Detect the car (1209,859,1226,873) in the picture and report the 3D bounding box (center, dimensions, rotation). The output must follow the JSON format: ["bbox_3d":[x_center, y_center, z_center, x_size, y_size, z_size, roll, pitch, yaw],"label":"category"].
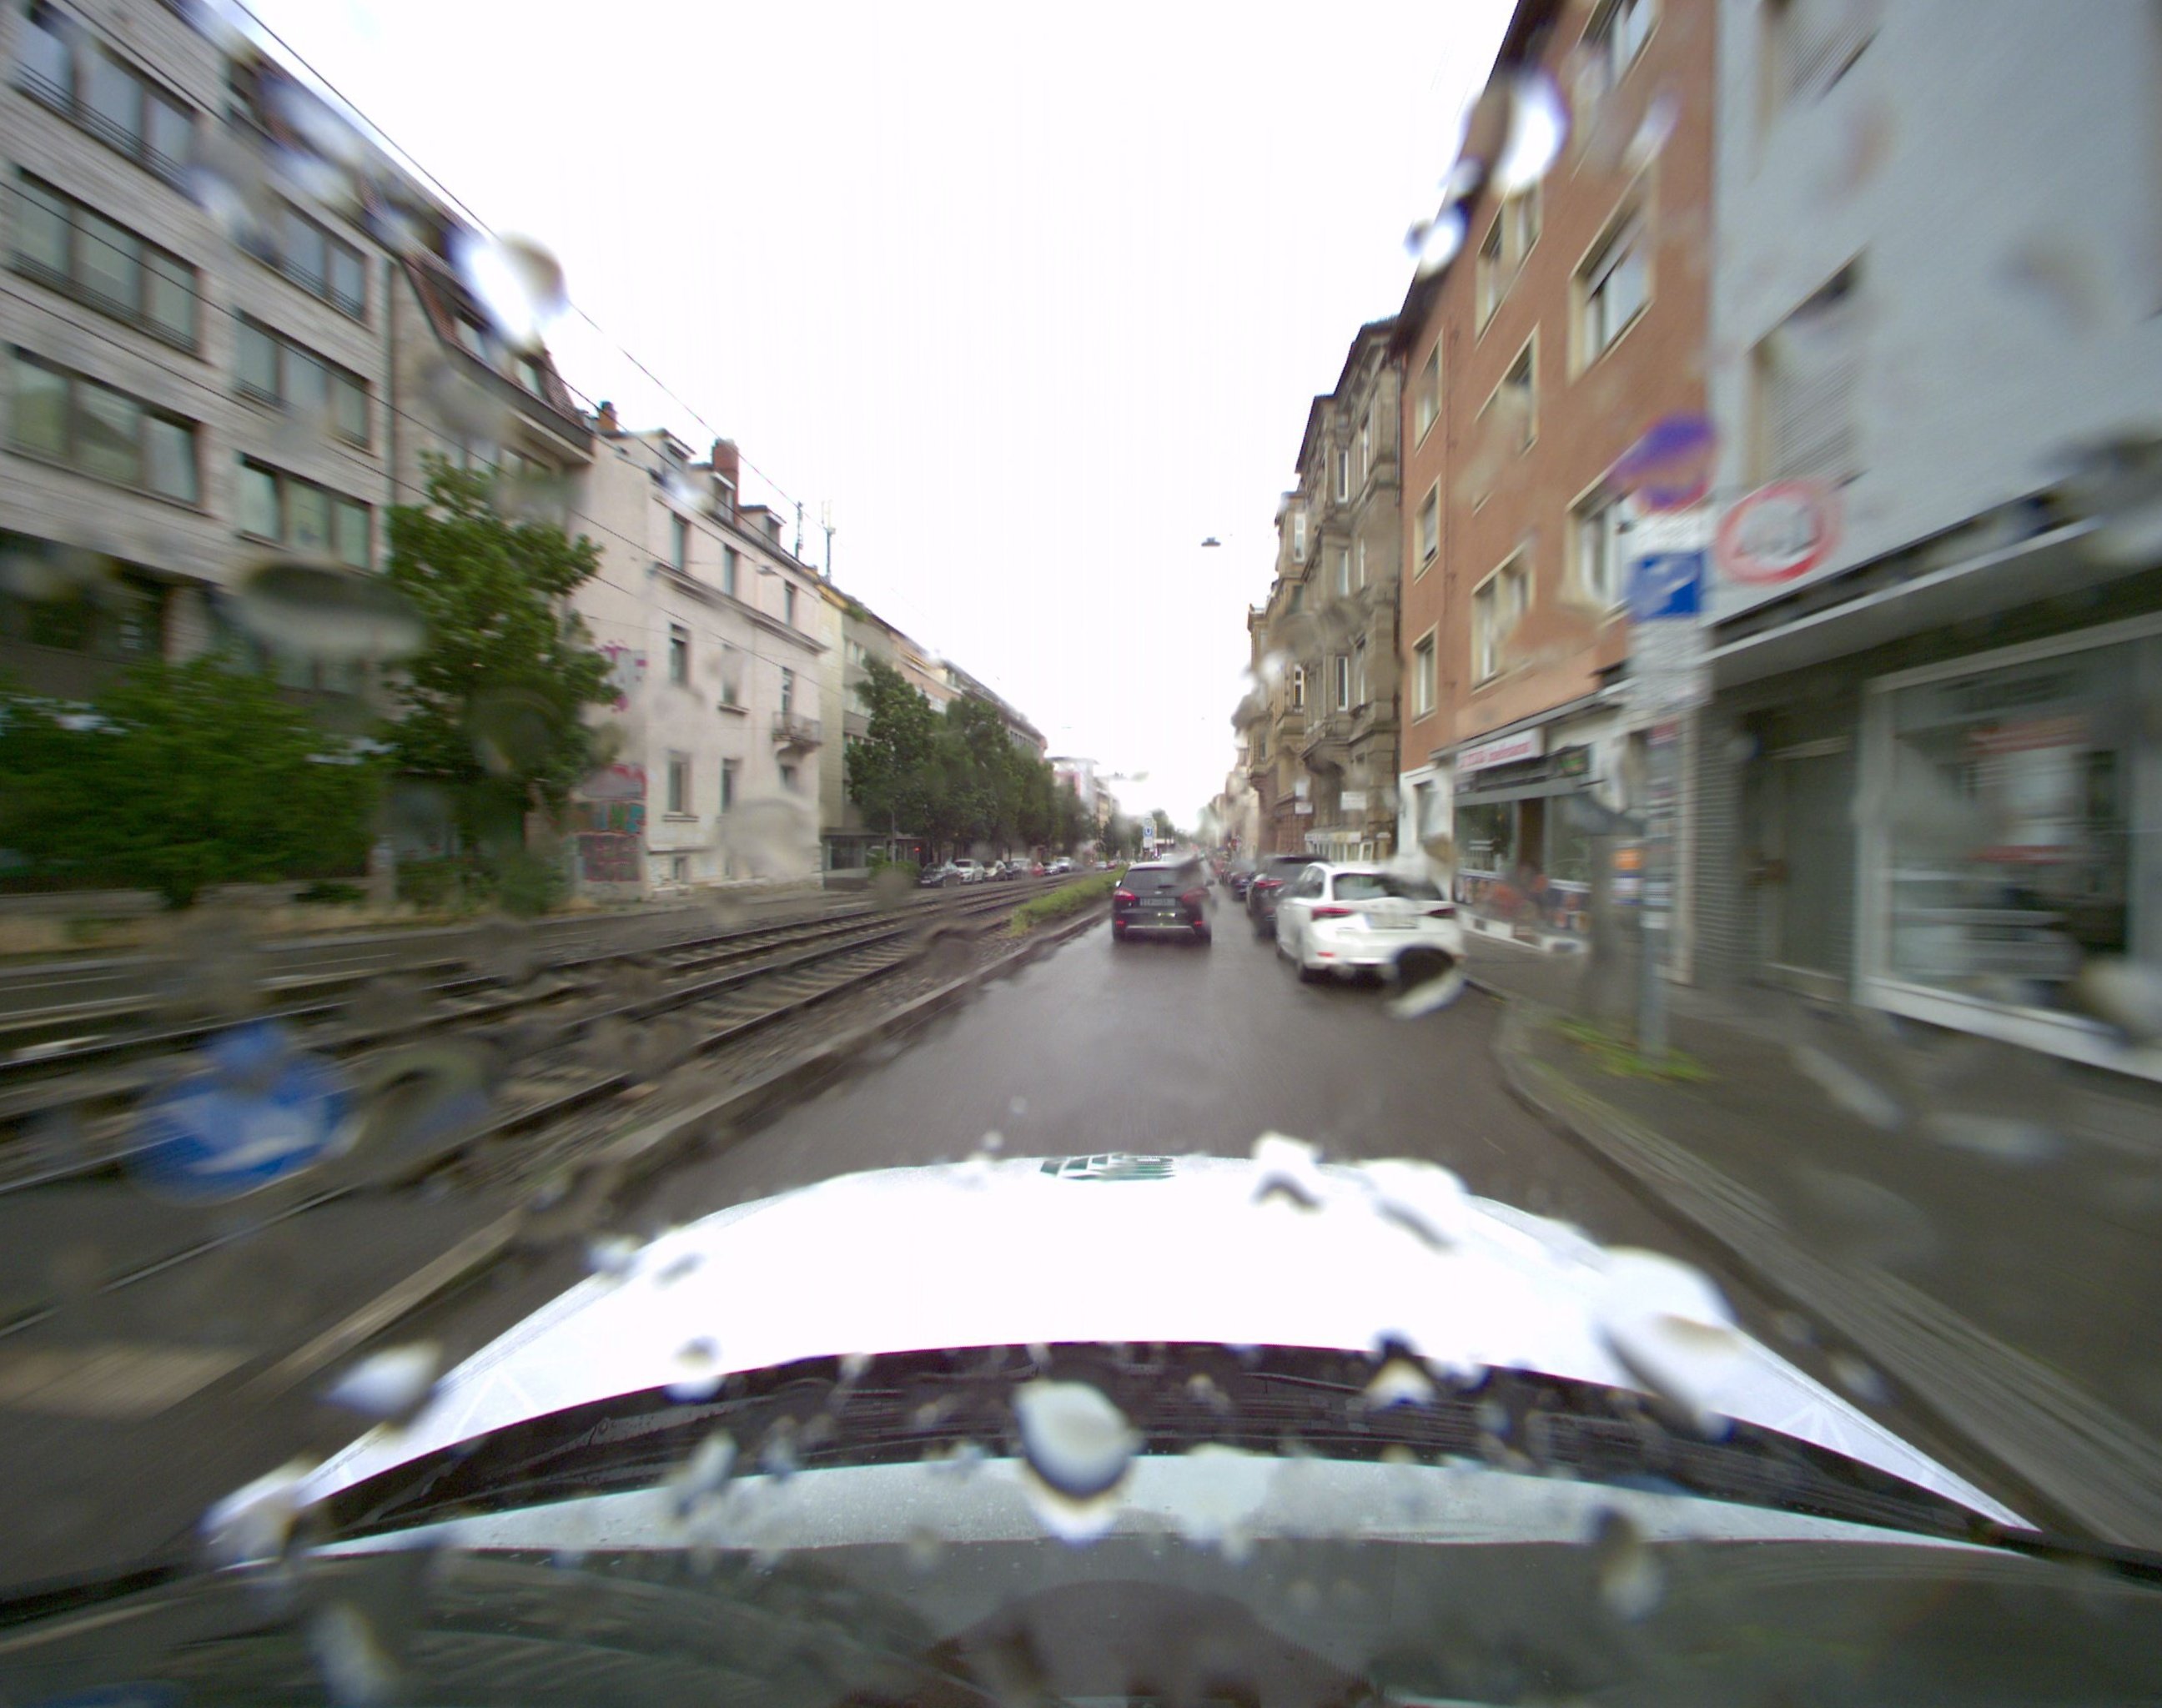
[{"bbox_3d":[13.917,1.220,83.035,1.661,1.421,3.483,0,-1,8],"label":"car"}]

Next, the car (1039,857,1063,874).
[{"bbox_3d":[-3.063,1.197,83.863,1.658,1.558,4.055,1,-2,8],"label":"car"}]

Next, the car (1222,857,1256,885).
[{"bbox_3d":[8.417,0.919,43.641,1.640,1.460,3.484,0,-1,8],"label":"car"}]

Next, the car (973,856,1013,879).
[{"bbox_3d":[-6.472,1.007,60.377,1.845,1.549,4.441,1,-2,8],"label":"car"}]

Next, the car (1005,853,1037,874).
[{"bbox_3d":[-5.207,0.855,71.282,1.845,1.701,4.441,1,-2,8],"label":"car"}]

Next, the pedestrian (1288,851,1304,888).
[{"bbox_3d":[9.406,0.688,35.683,0.516,1.579,0.679,-2,-3,8],"label":"pedestrian"}]

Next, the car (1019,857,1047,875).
[{"bbox_3d":[-4.528,1.167,77.340,1.845,1.527,4.055,1,-2,8],"label":"car"}]

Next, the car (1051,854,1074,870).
[{"bbox_3d":[-2.065,0.956,93.626,1.845,1.637,4.946,1,-2,8],"label":"car"}]

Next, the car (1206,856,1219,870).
[{"bbox_3d":[18.547,1.319,114.962,1.582,1.781,3.787,2,-2,9],"label":"car"}]

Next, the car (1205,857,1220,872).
[{"bbox_3d":[17.621,1.434,109.059,1.828,1.781,3.787,2,-2,9],"label":"car"}]

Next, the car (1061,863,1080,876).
[{"bbox_3d":[-1.255,1.908,99.970,1.685,1.574,4.055,1,-2,8],"label":"car"}]

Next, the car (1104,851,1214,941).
[{"bbox_3d":[1.528,0.766,15.786,1.833,1.507,4.006,-1,-1,6],"label":"car"}]

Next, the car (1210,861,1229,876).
[{"bbox_3d":[13.015,1.387,76.634,1.661,1.421,3.483,0,-1,8],"label":"car"}]

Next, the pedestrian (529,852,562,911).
[{"bbox_3d":[-15.610,0.801,23.749,0.467,1.652,0.581,3,-2,-4],"label":"pedestrian"}]

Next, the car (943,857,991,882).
[{"bbox_3d":[-7.517,1.082,54.119,1.845,1.549,4.731,1,-2,8],"label":"car"}]

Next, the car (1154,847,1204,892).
[{"bbox_3d":[4.880,0.721,40.056,1.975,2.060,4.661,0,0,13],"label":"car"}]

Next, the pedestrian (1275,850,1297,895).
[{"bbox_3d":[8.404,0.740,33.467,0.699,1.819,0.963,-2,0,8],"label":"pedestrian"}]

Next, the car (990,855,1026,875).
[{"bbox_3d":[-5.823,0.902,65.270,1.845,1.418,4.441,-2,-2,8],"label":"car"}]

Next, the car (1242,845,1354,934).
[{"bbox_3d":[4.469,0.724,17.386,1.834,1.633,4.596,0,-2,9],"label":"car"}]

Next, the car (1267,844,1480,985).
[{"bbox_3d":[3.579,0.713,10.836,1.791,1.456,4.596,-1,-2,8],"label":"car"}]

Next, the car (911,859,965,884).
[{"bbox_3d":[-8.307,1.063,47.841,1.684,1.378,4.731,1,-2,8],"label":"car"}]

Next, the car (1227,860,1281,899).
[{"bbox_3d":[6.629,1.001,31.563,1.781,1.407,4.266,0,-2,8],"label":"car"}]

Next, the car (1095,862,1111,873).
[{"bbox_3d":[3.450,2.070,126.628,1.845,1.637,4.055,1,-2,8],"label":"car"}]
